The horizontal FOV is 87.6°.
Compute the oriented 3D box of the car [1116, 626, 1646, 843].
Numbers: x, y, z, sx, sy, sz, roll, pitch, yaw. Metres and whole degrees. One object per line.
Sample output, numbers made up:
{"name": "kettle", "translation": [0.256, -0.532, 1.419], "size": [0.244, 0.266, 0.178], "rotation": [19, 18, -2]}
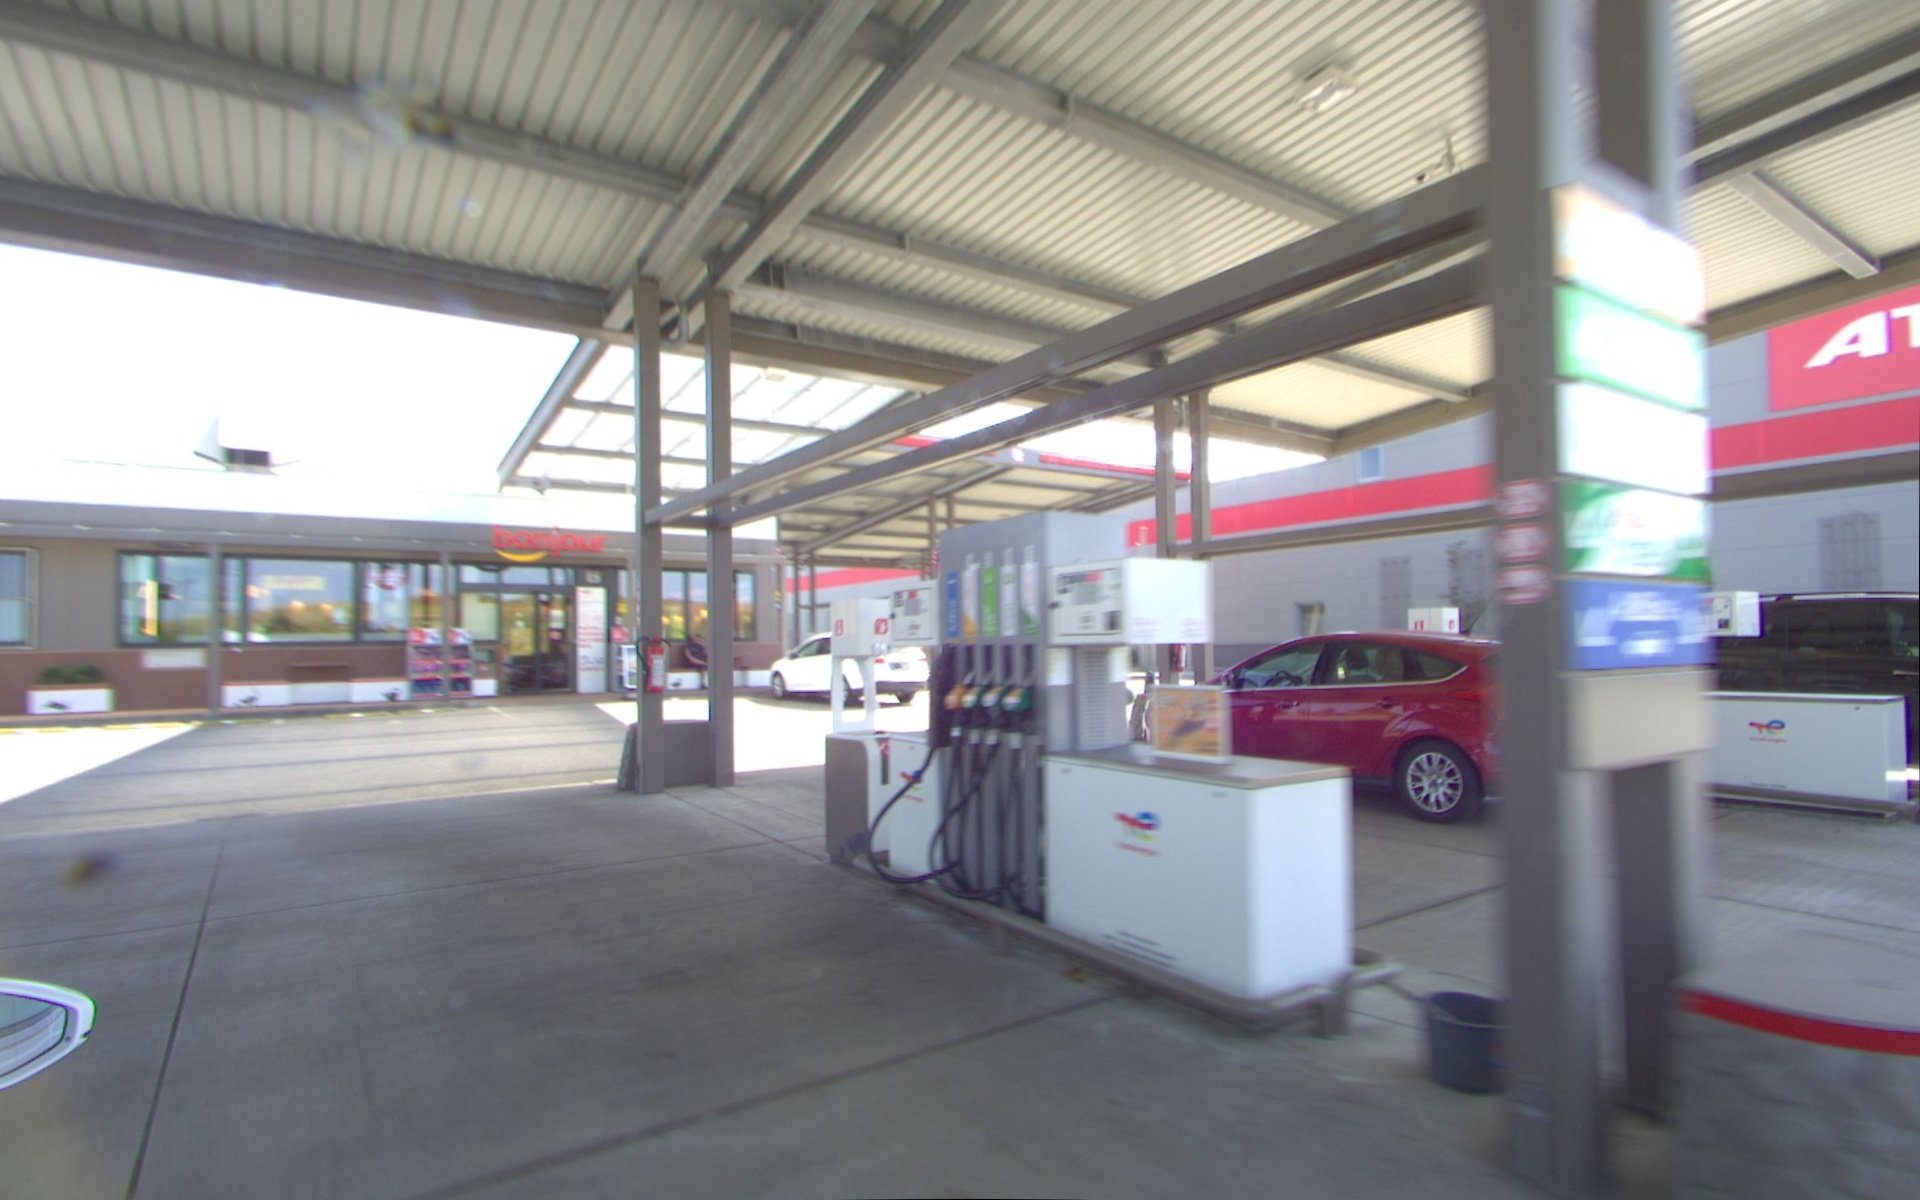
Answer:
{"name": "car", "translation": [3.499, 1.020, 9.114], "size": [1.682, 1.487, 4.206], "rotation": [1, -3, -34]}

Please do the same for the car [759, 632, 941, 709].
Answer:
{"name": "car", "translation": [-2.449, 1.445, 21.426], "size": [1.816, 1.475, 4.285], "rotation": [1, -3, -40]}

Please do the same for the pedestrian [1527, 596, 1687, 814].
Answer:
{"name": "pedestrian", "translation": [5.473, 0.849, 8.498], "size": [0.694, 1.724, 0.922], "rotation": [0, -2, -33]}

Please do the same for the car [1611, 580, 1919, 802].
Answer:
{"name": "car", "translation": [8.952, 0.780, 9.037], "size": [2.008, 1.874, 4.767], "rotation": [0, -1, -34]}

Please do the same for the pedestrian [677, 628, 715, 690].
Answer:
{"name": "pedestrian", "translation": [-6.298, 1.398, 23.887], "size": [0.694, 1.450, 0.668], "rotation": [1, -2, -36]}
